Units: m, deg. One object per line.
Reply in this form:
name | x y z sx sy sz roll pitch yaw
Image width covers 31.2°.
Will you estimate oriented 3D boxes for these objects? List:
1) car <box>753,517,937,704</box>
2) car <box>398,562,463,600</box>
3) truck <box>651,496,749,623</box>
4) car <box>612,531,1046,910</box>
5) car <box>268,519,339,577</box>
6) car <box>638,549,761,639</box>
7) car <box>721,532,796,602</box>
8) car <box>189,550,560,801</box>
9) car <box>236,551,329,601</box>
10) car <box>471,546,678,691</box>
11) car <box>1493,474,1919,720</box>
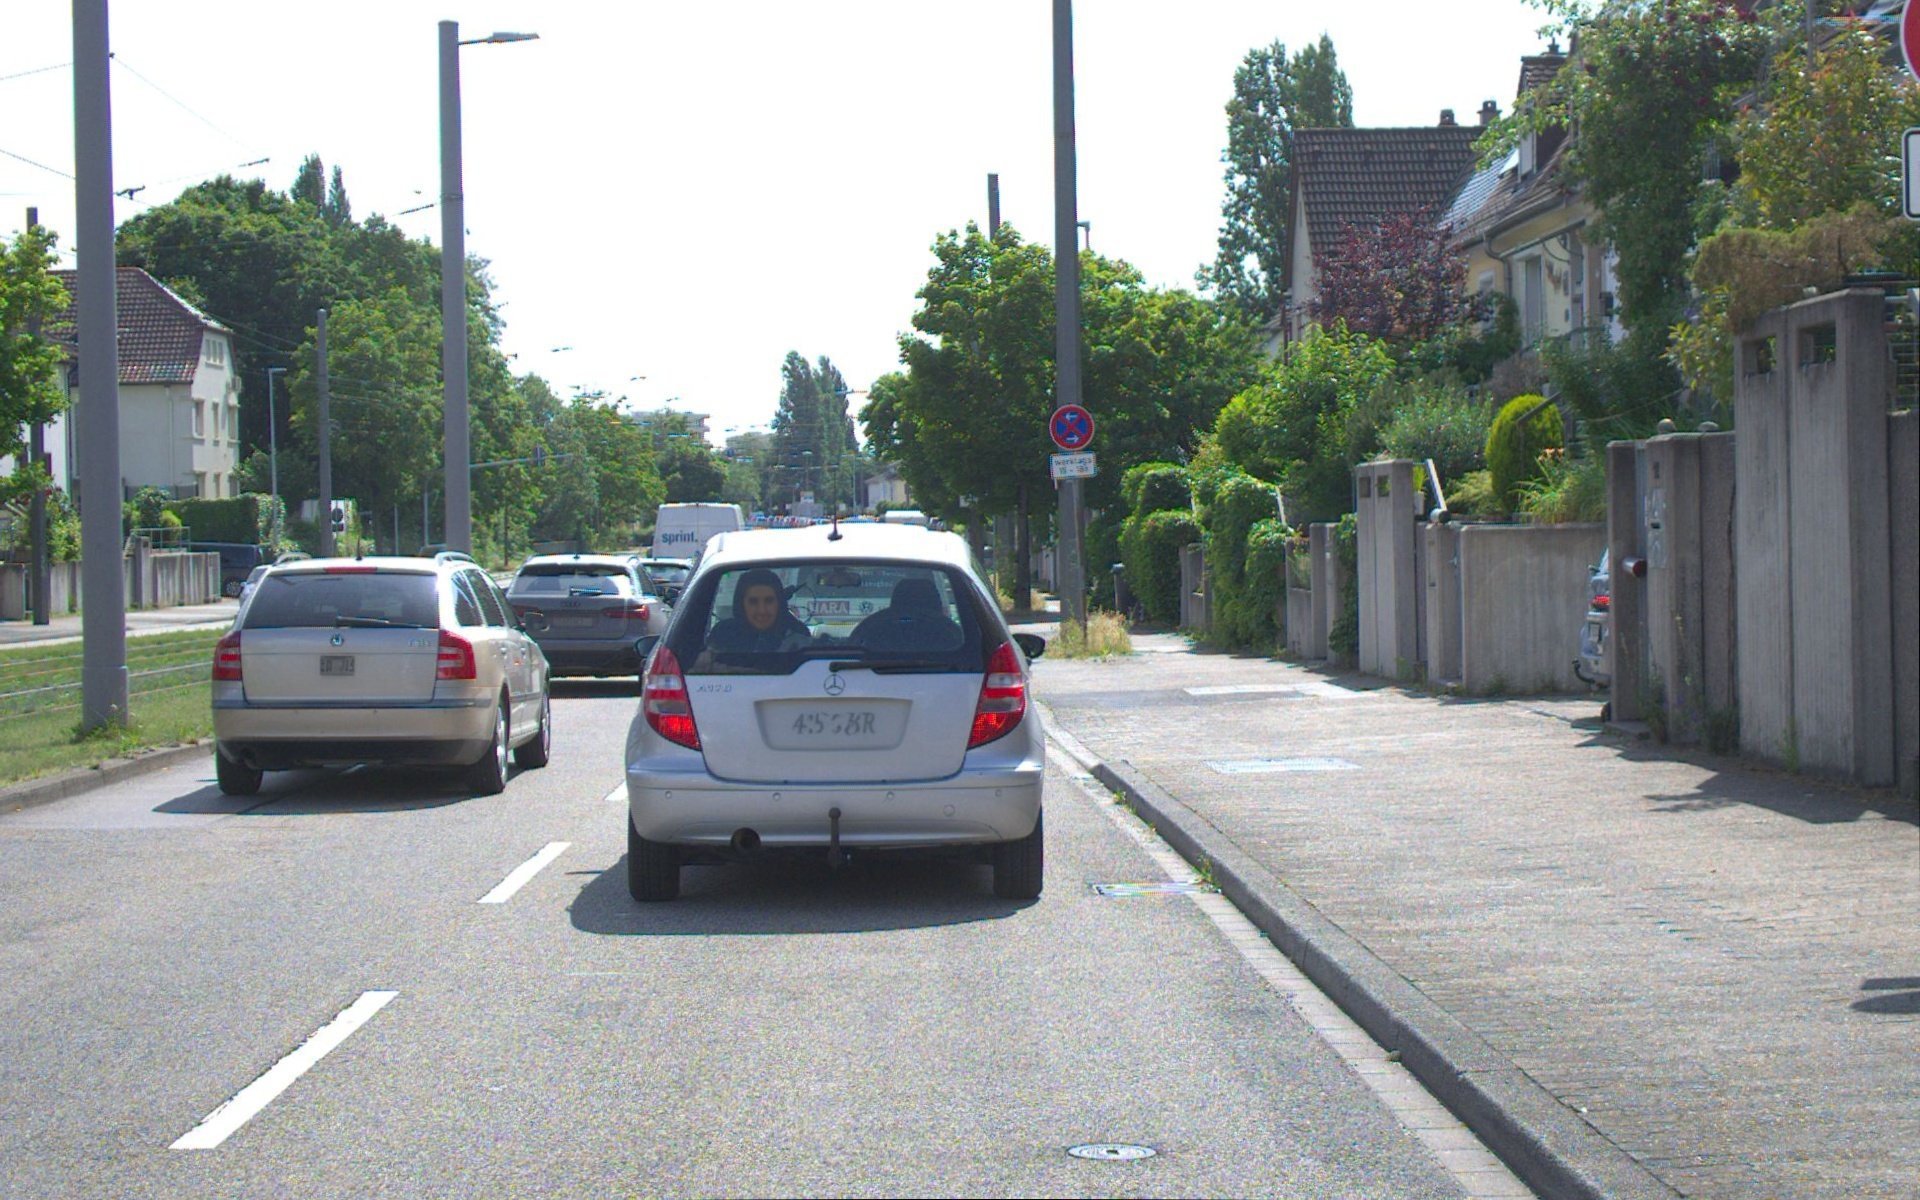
car | -1.205 0.072 34.574 1.729 1.756 4.017 0 1 -3
car | -21.687 -0.797 140.916 1.916 1.472 4.562 1 1 1
truck | -5.396 -0.856 71.920 1.852 2.543 5.856 0 1 -3
car | -0.603 0.457 15.830 1.730 1.511 4.017 0 1 -2
car | -26.644 -2.113 139.671 1.916 2.322 4.562 1 1 1
car | -4.180 -0.127 55.728 1.852 1.383 4.515 0 1 -3
car | -6.088 -1.025 104.187 1.916 2.070 4.562 1 1 1
car | -3.644 0.412 22.056 1.731 1.444 4.123 0 1 -1
car | -20.810 -0.750 105.742 1.916 1.472 4.562 1 1 1
car | -4.183 0.152 37.950 1.916 1.472 4.563 0 1 -2
car | 6.261 -0.067 26.057 3.986 1.678 2.000 -2 1 -4
